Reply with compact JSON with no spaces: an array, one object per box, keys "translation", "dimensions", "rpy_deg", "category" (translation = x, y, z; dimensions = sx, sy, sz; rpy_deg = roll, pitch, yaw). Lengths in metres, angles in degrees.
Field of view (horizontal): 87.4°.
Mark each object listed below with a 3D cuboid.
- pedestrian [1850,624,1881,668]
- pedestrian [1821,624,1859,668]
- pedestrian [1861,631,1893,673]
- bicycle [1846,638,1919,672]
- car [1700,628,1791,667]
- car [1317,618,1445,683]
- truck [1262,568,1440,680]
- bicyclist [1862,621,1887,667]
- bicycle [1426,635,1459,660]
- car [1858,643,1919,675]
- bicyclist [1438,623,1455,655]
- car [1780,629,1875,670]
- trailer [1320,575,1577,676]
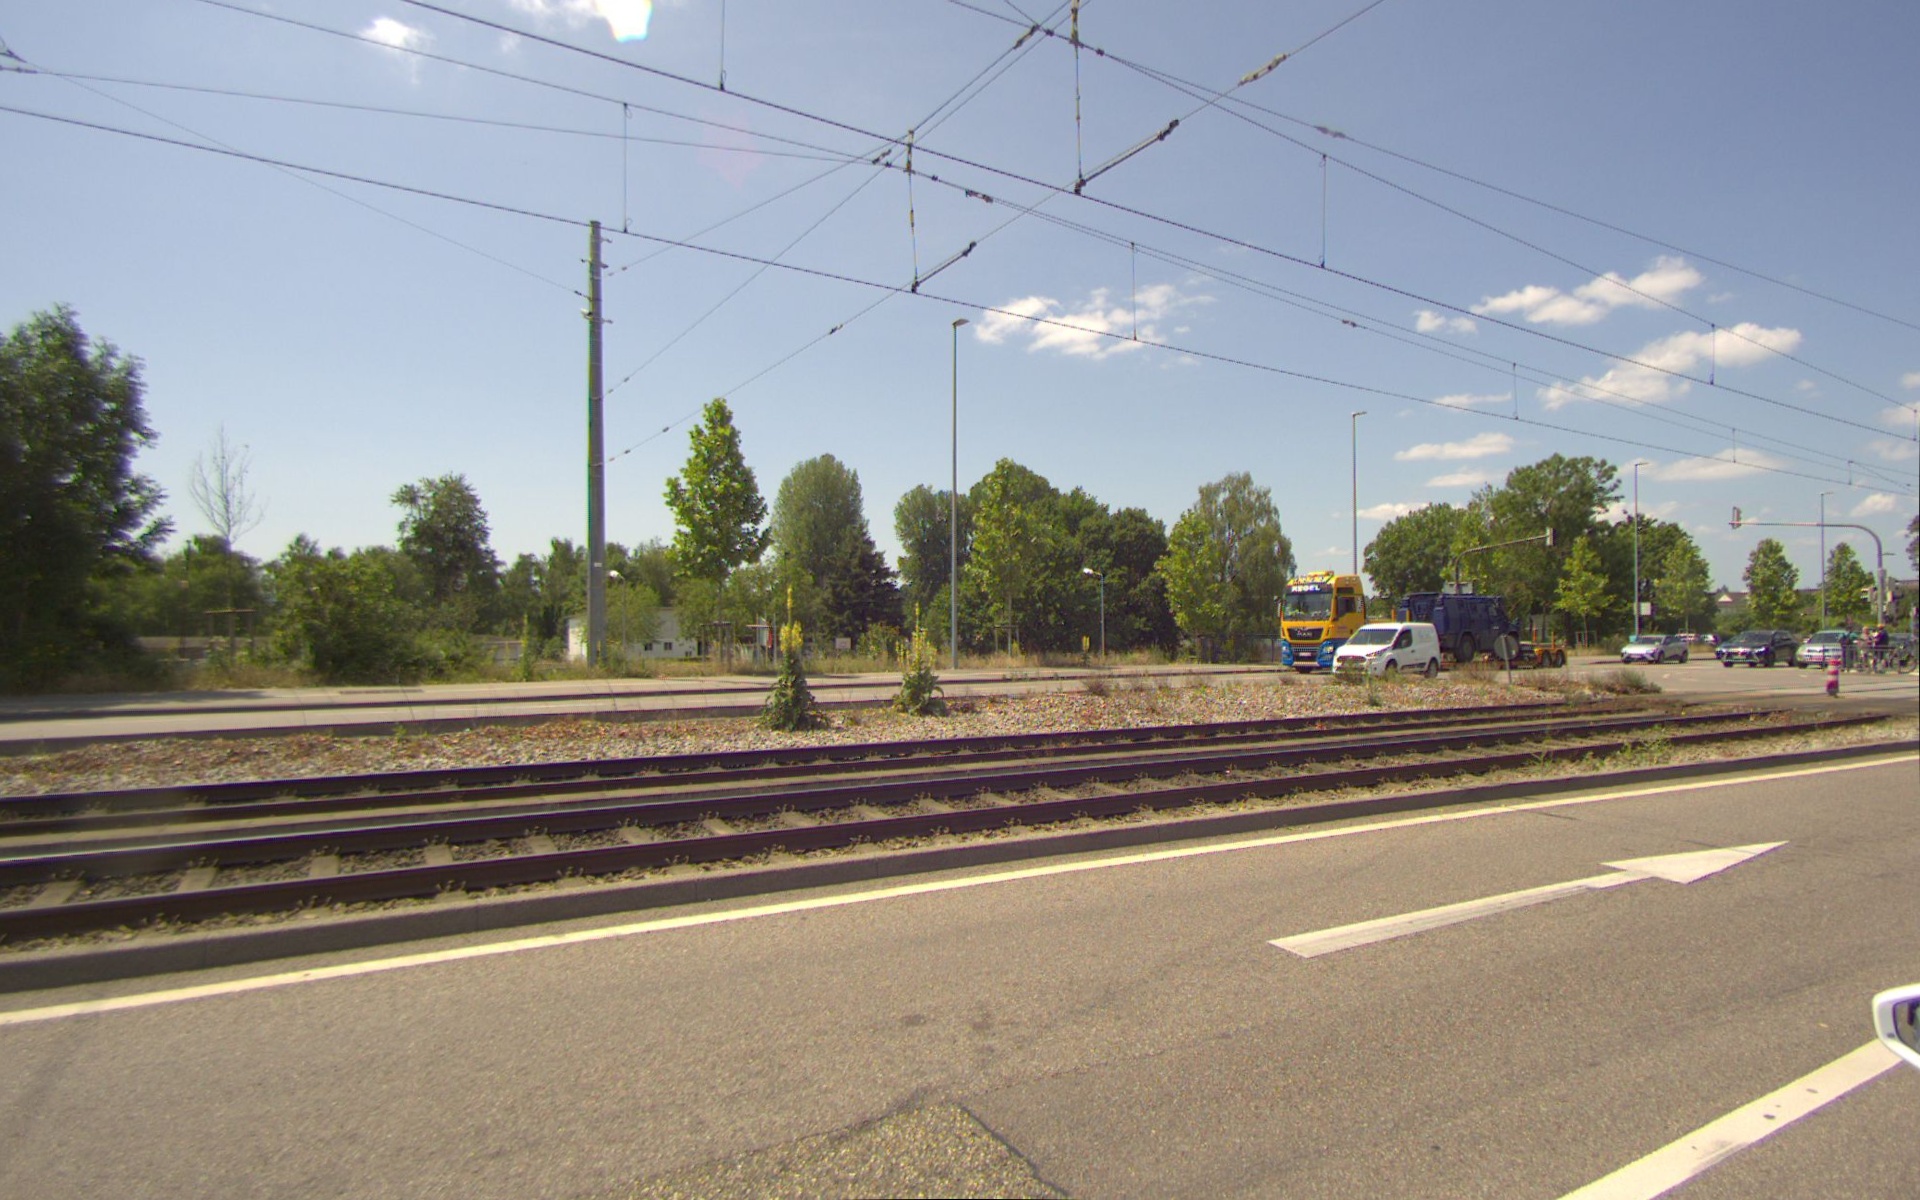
[{"translation":[35.831,1.807,39.733],"dimensions":[0.756,1.694,0.757],"rpy_deg":[1,-1,-33],"category":"pedestrian"},{"translation":[33.670,1.740,38.435],"dimensions":[0.756,1.631,0.951],"rpy_deg":[1,-1,-33],"category":"pedestrian"},{"translation":[35.069,1.975,38.413],"dimensions":[0.756,1.569,0.757],"rpy_deg":[1,-1,-33],"category":"pedestrian"},{"translation":[33.550,1.989,36.544],"dimensions":[1.951,1.115,0.760],"rpy_deg":[1,0,44],"category":"bicycle"},{"translation":[35.862,2.137,45.866],"dimensions":[3.953,1.650,1.984],"rpy_deg":[1,-1,-30],"category":"car"},{"translation":[13.399,1.557,31.877],"dimensions":[4.398,1.863,1.976],"rpy_deg":[2,0,-41],"category":"car"},{"translation":[15.733,0.923,40.191],"dimensions":[7.402,4.093,3.104],"rpy_deg":[1,0,-36],"category":"truck"},{"translation":[33.407,1.594,36.680],"dimensions":[0.657,1.636,0.729],"rpy_deg":[1,0,43],"category":"bicyclist"},{"translation":[24.889,2.439,51.816],"dimensions":[0.582,1.209,1.526],"rpy_deg":[1,0,-23],"category":"bicycle"},{"translation":[51.874,3.233,55.713],"dimensions":[3.953,1.650,1.984],"rpy_deg":[1,0,-30],"category":"car"},{"translation":[24.968,2.005,51.575],"dimensions":[0.536,1.631,0.584],"rpy_deg":[0,0,-25],"category":"bicyclist"},{"translation":[37.939,2.118,43.913],"dimensions":[3.953,1.650,1.984],"rpy_deg":[1,0,-30],"category":"car"},{"translation":[22.070,1.131,44.588],"dimensions":[15.324,3.922,3.095],"rpy_deg":[1,0,-35],"category":"trailer"}]
